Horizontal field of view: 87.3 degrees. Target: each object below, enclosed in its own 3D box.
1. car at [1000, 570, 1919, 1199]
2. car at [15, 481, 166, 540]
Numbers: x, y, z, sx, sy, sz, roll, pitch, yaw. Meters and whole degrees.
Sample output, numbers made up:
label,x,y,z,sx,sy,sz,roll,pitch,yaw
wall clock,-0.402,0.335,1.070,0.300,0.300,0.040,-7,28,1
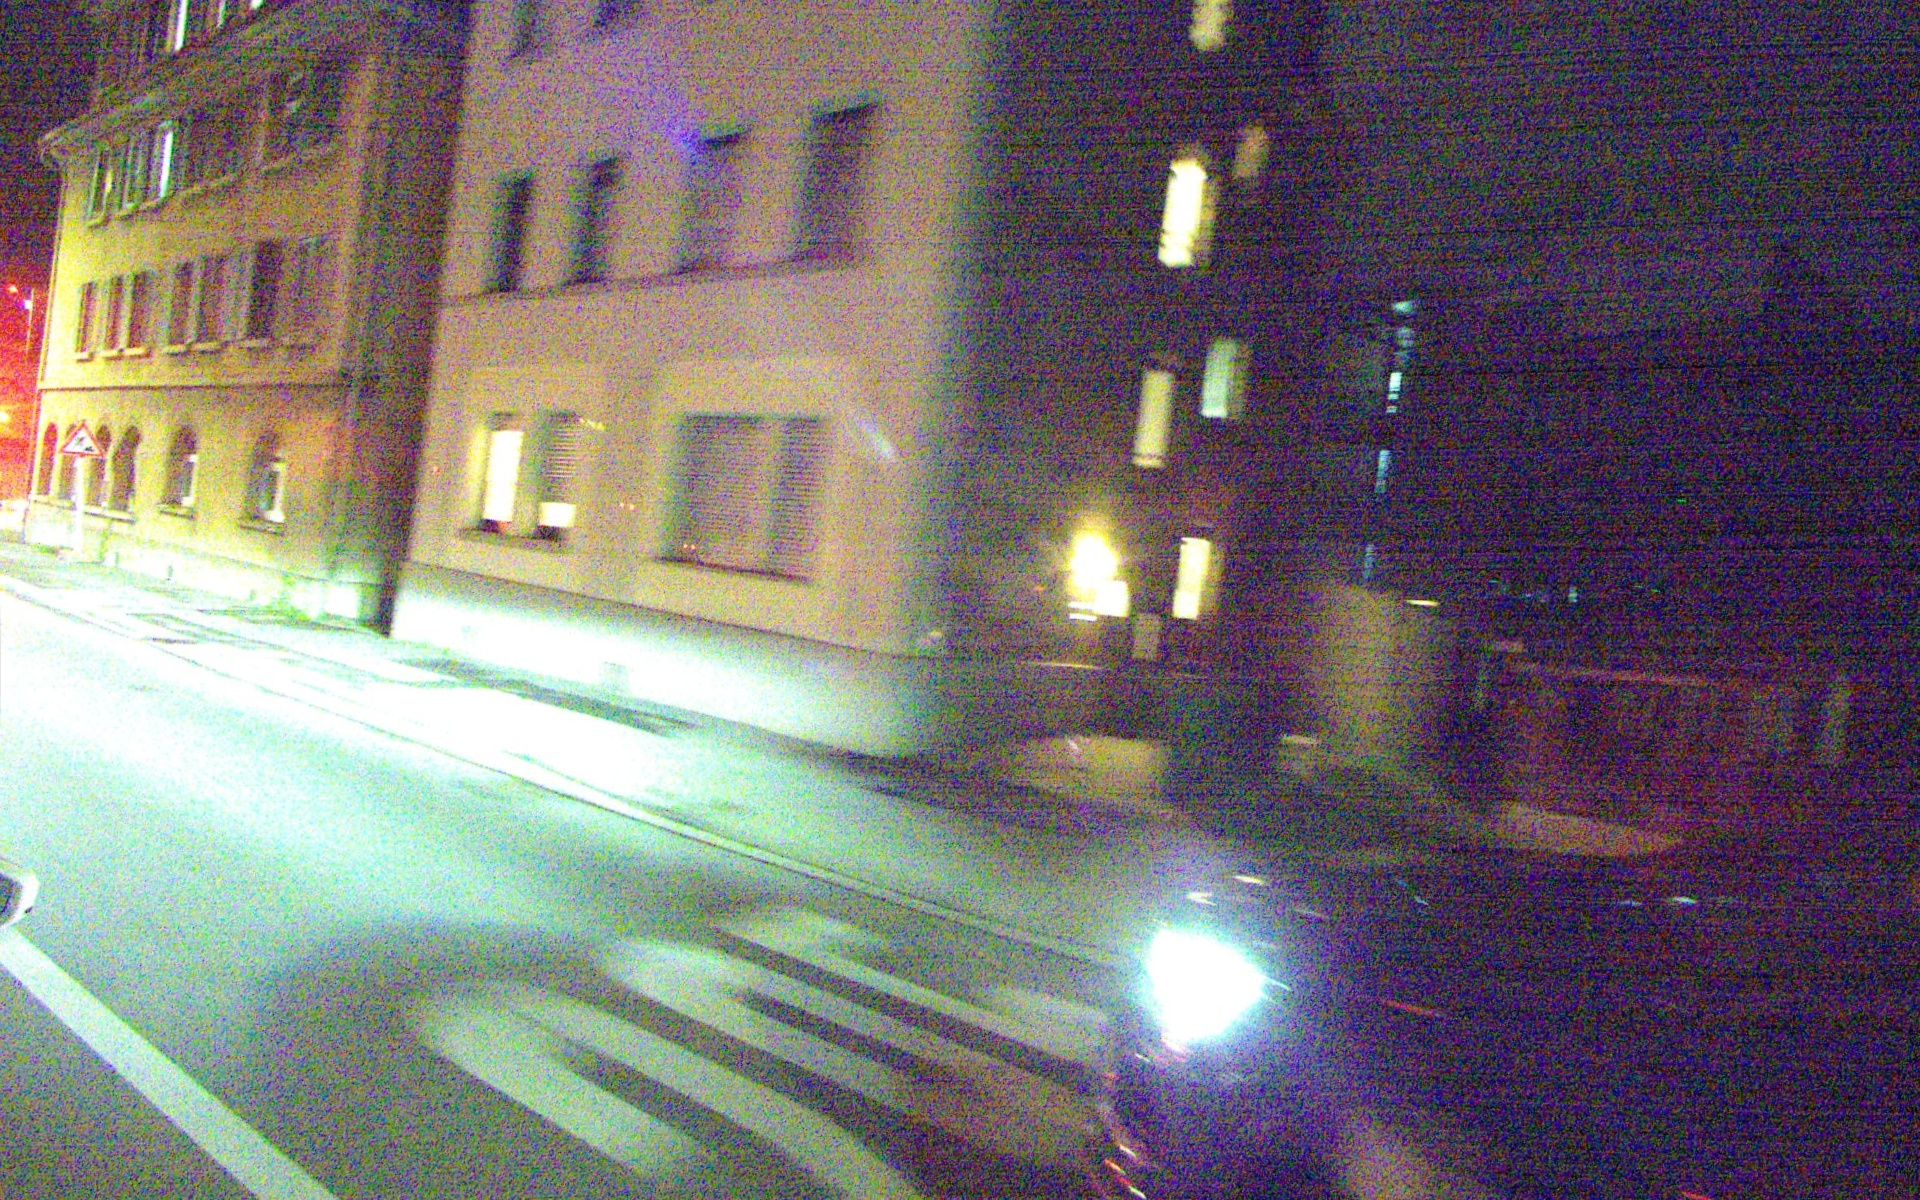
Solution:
label,x,y,z,sx,sy,sz,roll,pitch,yaw
car,2.337,1.022,1.796,4.157,1.629,1.674,6,-1,29
car,-32.699,-3.327,37.981,3.960,1.509,1.695,8,-1,-32
